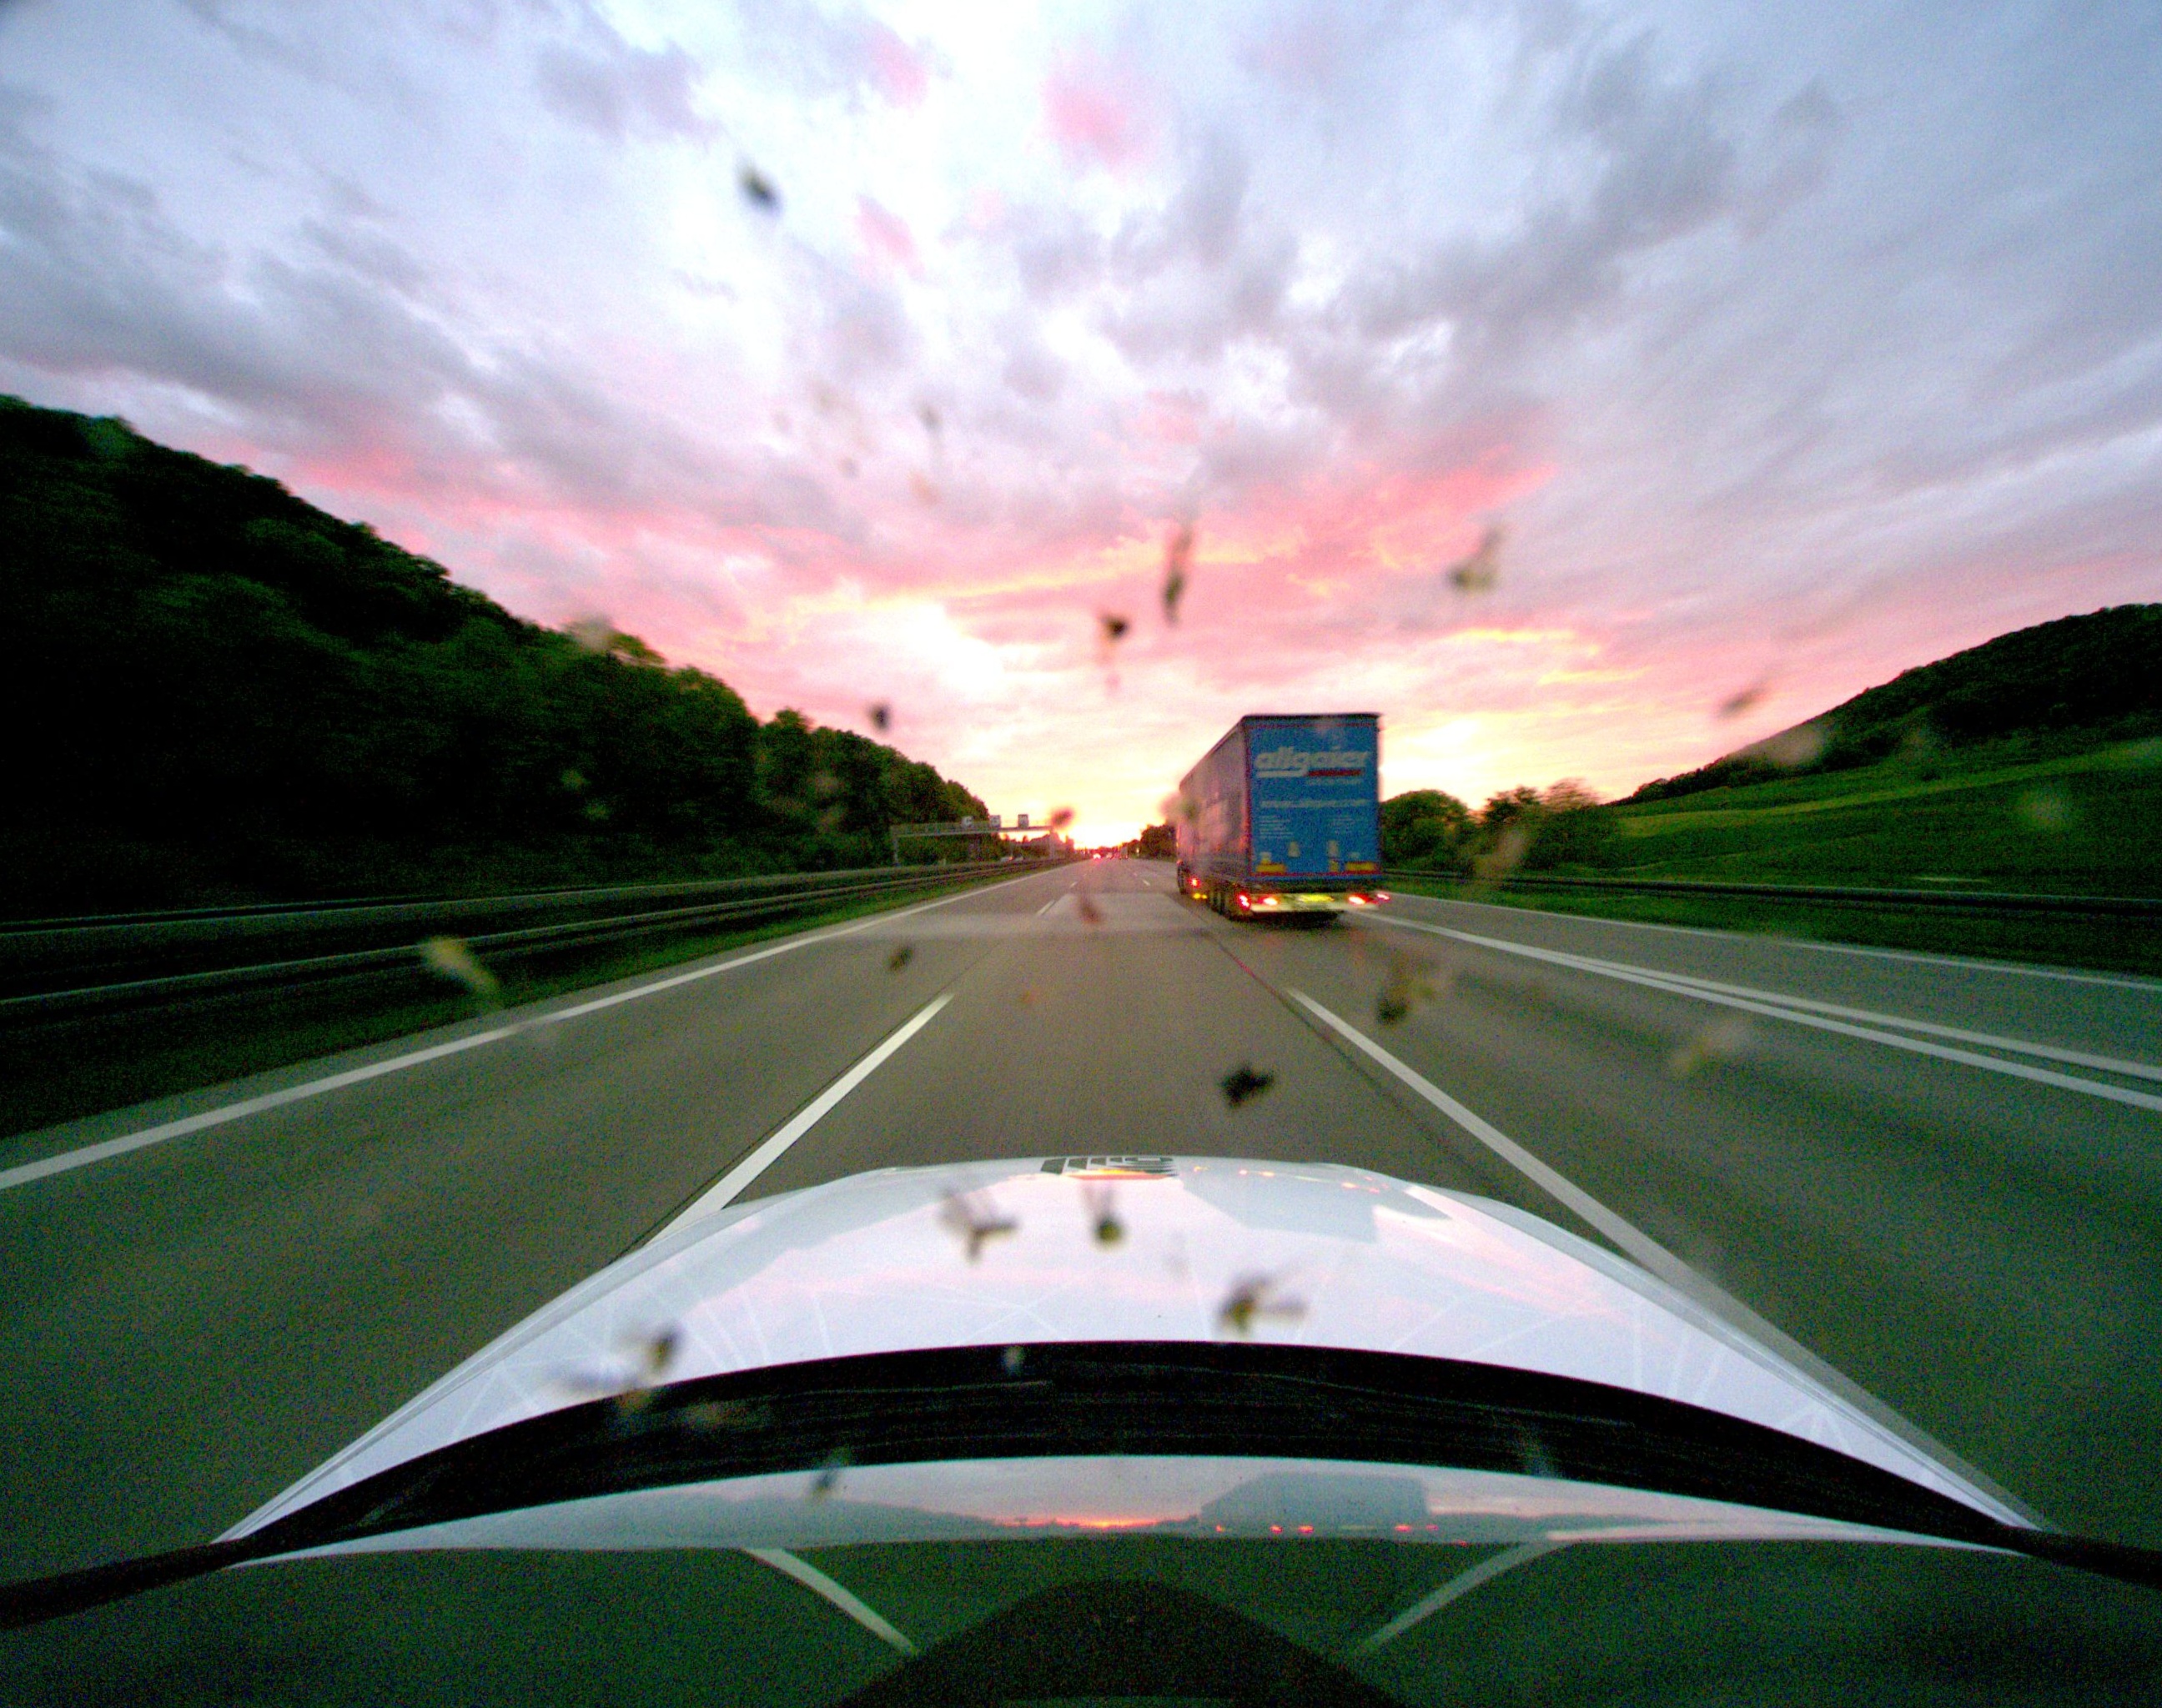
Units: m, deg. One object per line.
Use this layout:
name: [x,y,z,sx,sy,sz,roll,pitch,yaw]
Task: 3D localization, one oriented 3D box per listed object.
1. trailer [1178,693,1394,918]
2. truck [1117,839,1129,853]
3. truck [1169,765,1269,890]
trailer: [4.561,-0.892,21.774,2.761,4.086,13.746,-1,0,2]
truck: [12.939,-2.313,250.175,3.234,4.127,9.786,-2,0,0]
truck: [4.757,-0.844,29.168,2.726,3.996,5.852,-1,0,2]
